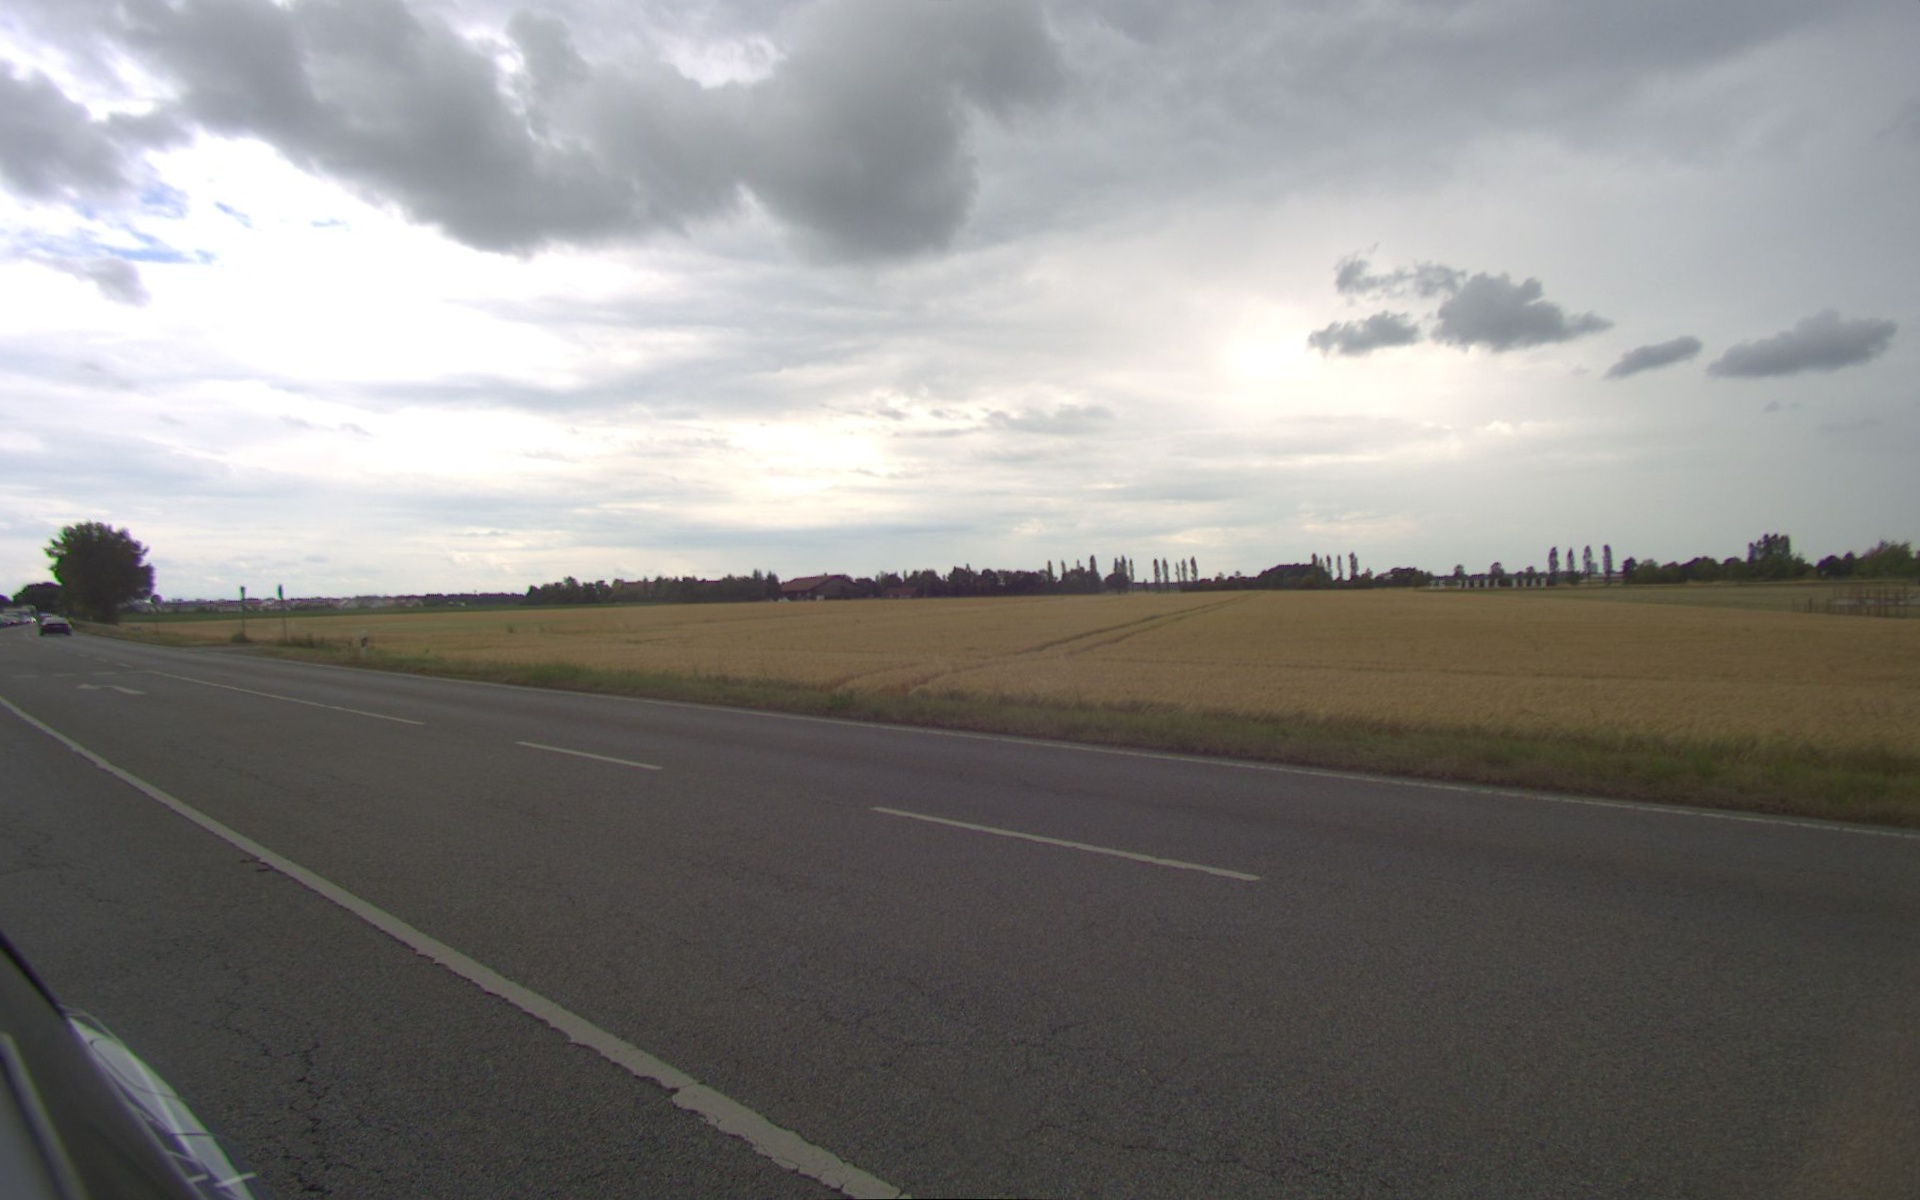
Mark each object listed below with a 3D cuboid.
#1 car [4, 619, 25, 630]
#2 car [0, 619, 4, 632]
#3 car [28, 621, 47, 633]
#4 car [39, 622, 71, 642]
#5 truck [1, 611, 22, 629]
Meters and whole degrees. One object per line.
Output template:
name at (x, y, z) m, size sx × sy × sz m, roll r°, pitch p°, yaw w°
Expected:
car at (-135.358, 3.457, 144.840) m, size 1.766 × 1.551 × 4.145 m, roll 0°, pitch -1°, yaw -37°
car at (-116.834, 3.126, 121.951) m, size 1.924 × 1.595 × 4.145 m, roll 0°, pitch -1°, yaw -37°
car at (-132.378, 3.866, 145.255) m, size 1.923 × 1.707 × 4.452 m, roll 0°, pitch -1°, yaw -42°
car at (-69.504, 2.436, 77.737) m, size 1.805 × 1.421 × 4.429 m, roll -2°, pitch 0°, yaw -42°
truck at (-152.276, 3.202, 162.489) m, size 2.287 × 2.786 × 7.681 m, roll -1°, pitch 0°, yaw -43°
